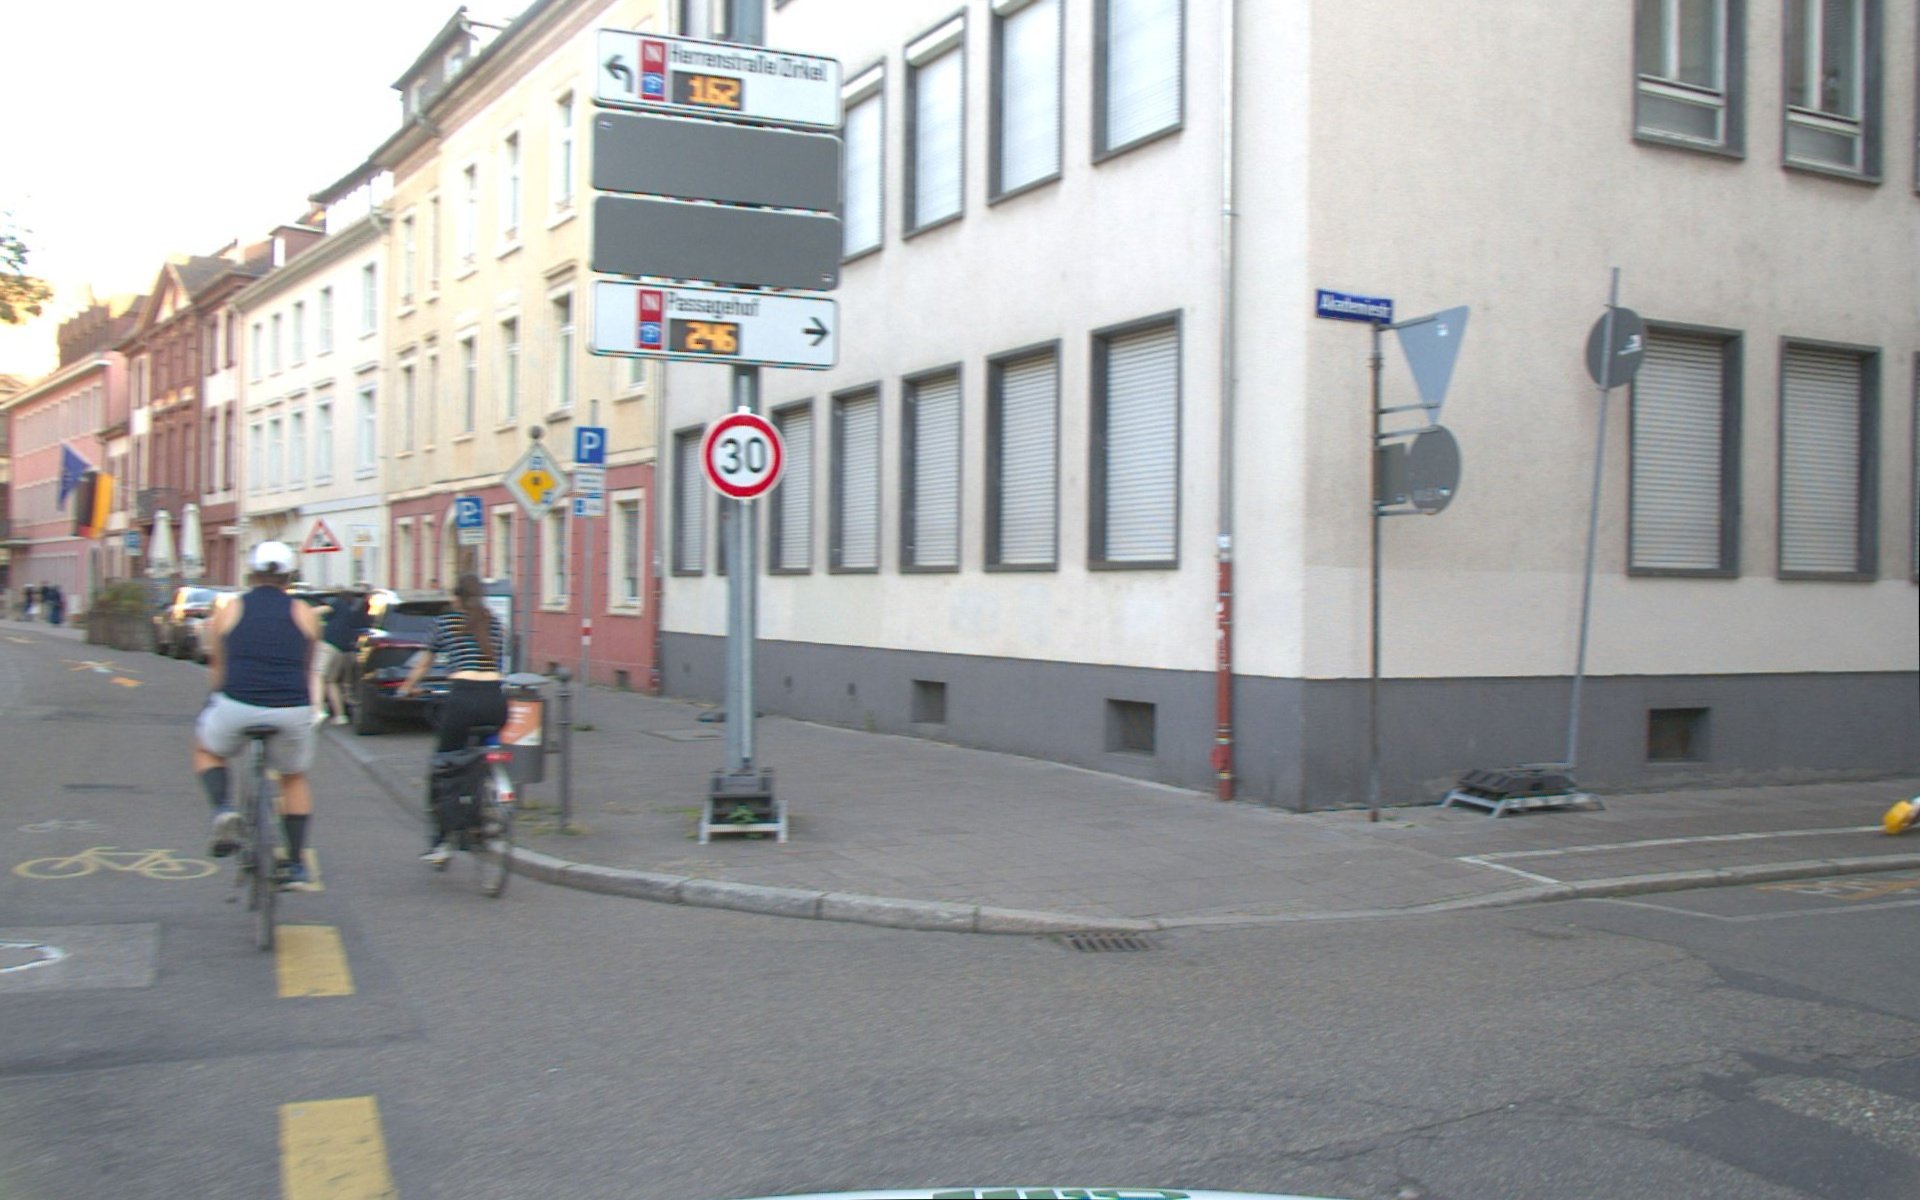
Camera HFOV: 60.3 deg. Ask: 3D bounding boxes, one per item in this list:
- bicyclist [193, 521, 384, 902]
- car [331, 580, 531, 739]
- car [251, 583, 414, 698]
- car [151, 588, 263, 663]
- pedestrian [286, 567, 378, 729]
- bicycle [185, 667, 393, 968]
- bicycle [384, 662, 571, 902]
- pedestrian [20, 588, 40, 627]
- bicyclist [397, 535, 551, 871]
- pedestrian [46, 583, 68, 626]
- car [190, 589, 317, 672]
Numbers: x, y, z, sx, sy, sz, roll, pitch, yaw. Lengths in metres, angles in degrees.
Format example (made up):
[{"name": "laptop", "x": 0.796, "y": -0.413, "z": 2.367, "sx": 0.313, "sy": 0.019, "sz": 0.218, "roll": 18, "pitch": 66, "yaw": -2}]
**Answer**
[{"name": "bicyclist", "x": -3.003, "y": 0.478, "z": 7.379, "sx": 0.661, "sy": 1.593, "sz": 0.692, "roll": 3, "pitch": -1, "yaw": -28}, {"name": "car", "x": -6.471, "y": 0.647, "z": 19.977, "sx": 1.790, "sy": 1.712, "sz": 3.887, "roll": 1, "pitch": 0, "yaw": -26}, {"name": "car", "x": -10.290, "y": 0.606, "z": 26.965, "sx": 1.794, "sy": 1.713, "sz": 3.958, "roll": 1, "pitch": 0, "yaw": -31}, {"name": "car", "x": -17.082, "y": 0.551, "z": 37.439, "sx": 1.795, "sy": 1.587, "sz": 3.822, "roll": 1, "pitch": 0, "yaw": -32}, {"name": "pedestrian", "x": -7.587, "y": 0.568, "z": 19.971, "sx": 0.890, "sy": 1.898, "sz": 0.923, "roll": 1, "pitch": 0, "yaw": -29}, {"name": "bicycle", "x": -3.068, "y": 0.894, "z": 7.457, "sx": 0.662, "sy": 1.089, "sz": 1.884, "roll": 2, "pitch": -1, "yaw": -28}, {"name": "bicycle", "x": -2.763, "y": 0.949, "z": 9.303, "sx": 0.644, "sy": 1.089, "sz": 2.240, "roll": 3, "pitch": -1, "yaw": -25}, {"name": "pedestrian", "x": -39.022, "y": 0.300, "z": 69.374, "sx": 0.662, "sy": 1.609, "sz": 0.578, "roll": 1, "pitch": 0, "yaw": -35}, {"name": "bicyclist", "x": -2.757, "y": 0.554, "z": 9.339, "sx": 0.641, "sy": 1.791, "sz": 0.857, "roll": 3, "pitch": -1, "yaw": -25}, {"name": "pedestrian", "x": -38.218, "y": 0.193, "z": 70.035, "sx": 0.743, "sy": 1.793, "sz": 0.578, "roll": 1, "pitch": 0, "yaw": -35}, {"name": "car", "x": -14.470, "y": 0.578, "z": 33.779, "sx": 1.795, "sy": 1.587, "sz": 3.822, "roll": 1, "pitch": 0, "yaw": -32}]
